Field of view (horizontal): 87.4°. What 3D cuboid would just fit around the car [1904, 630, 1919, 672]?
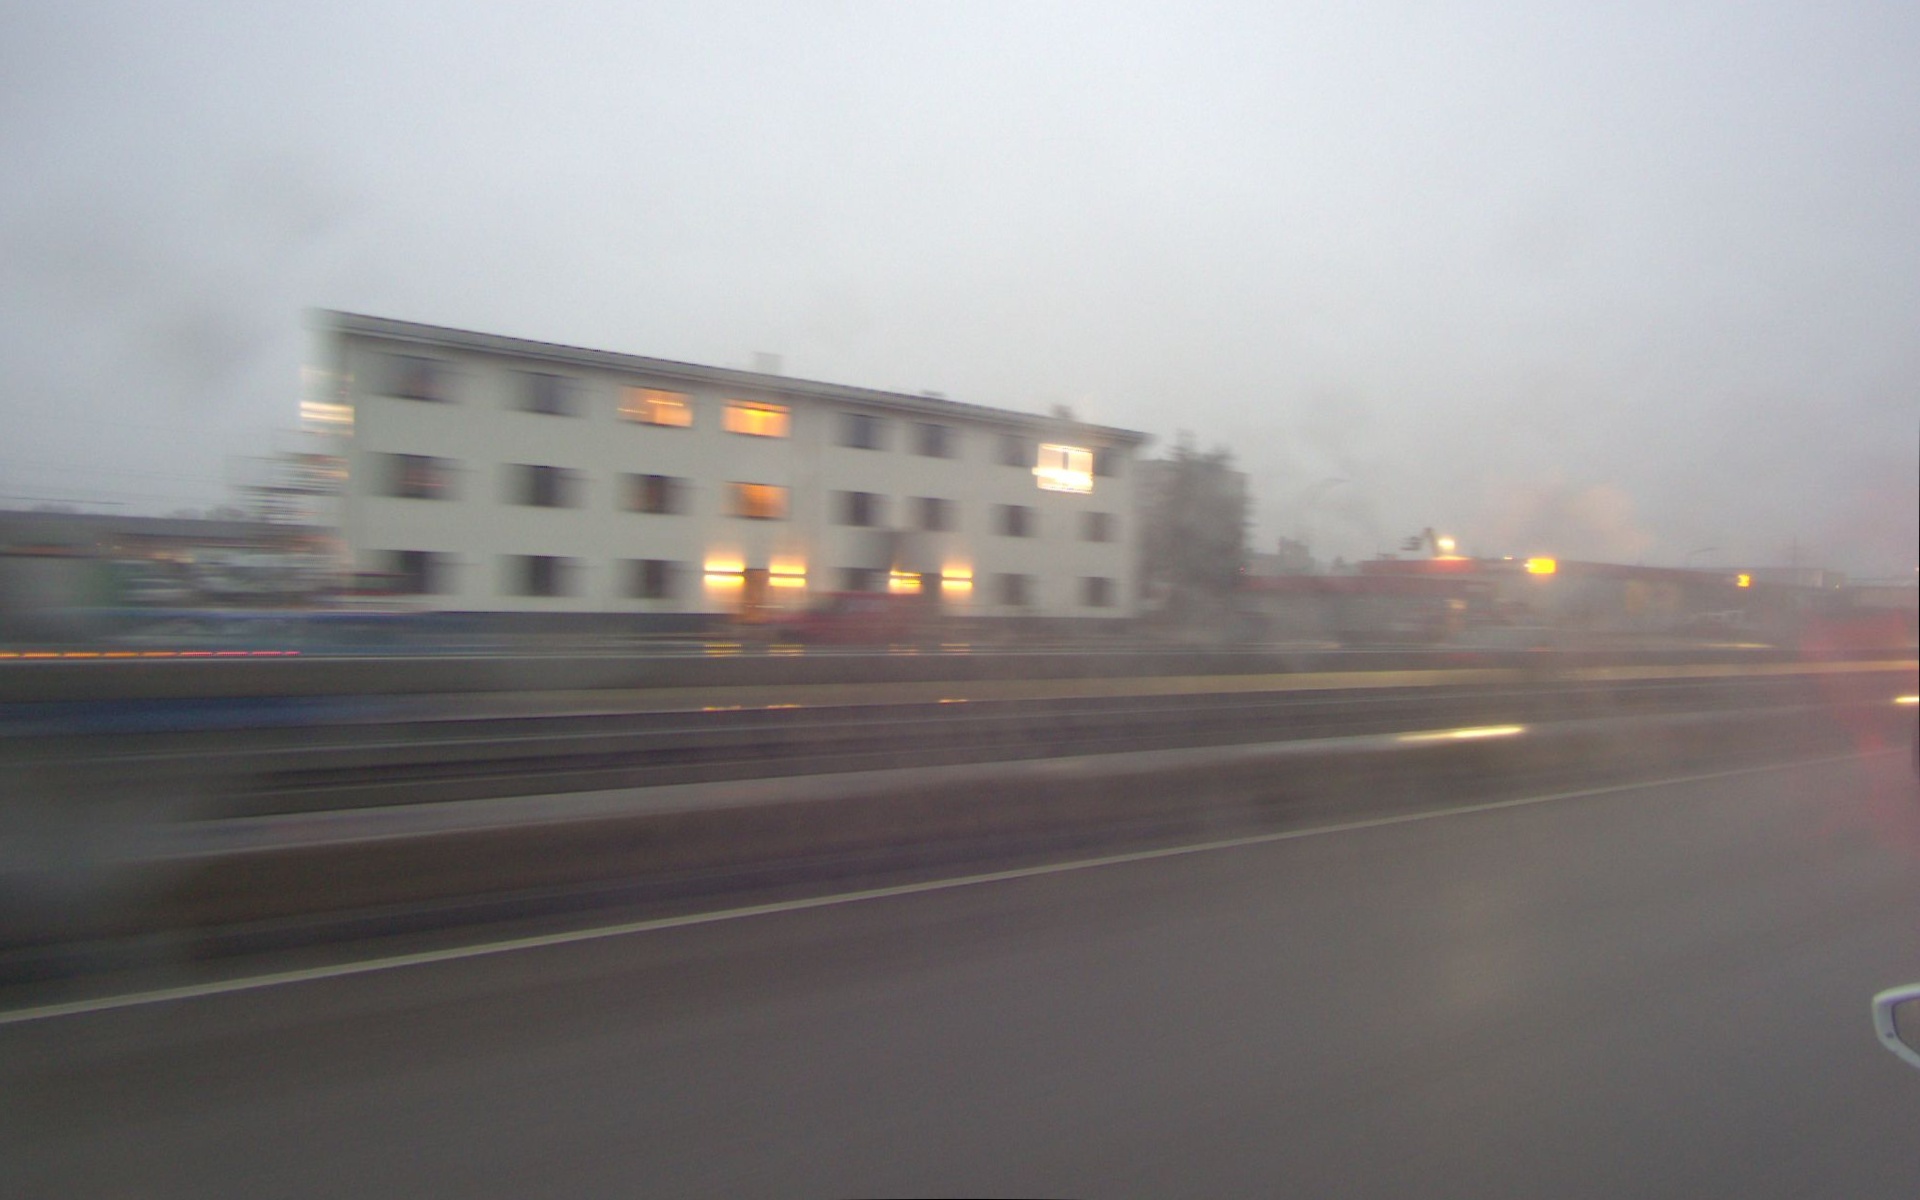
[{"bbox_3d":[37.289,1.939,37.653,3.954,1.528,1.728,2,0,-31],"label":"car"}]

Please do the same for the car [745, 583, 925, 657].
[{"bbox_3d":[-3.696,0.584,30.067,4.907,2.040,2.142,1,0,-33],"label":"car"}]

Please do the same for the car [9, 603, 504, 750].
[{"bbox_3d":[-6.653,0.687,9.952,3.755,1.203,1.451,2,0,-31],"label":"car"}]
